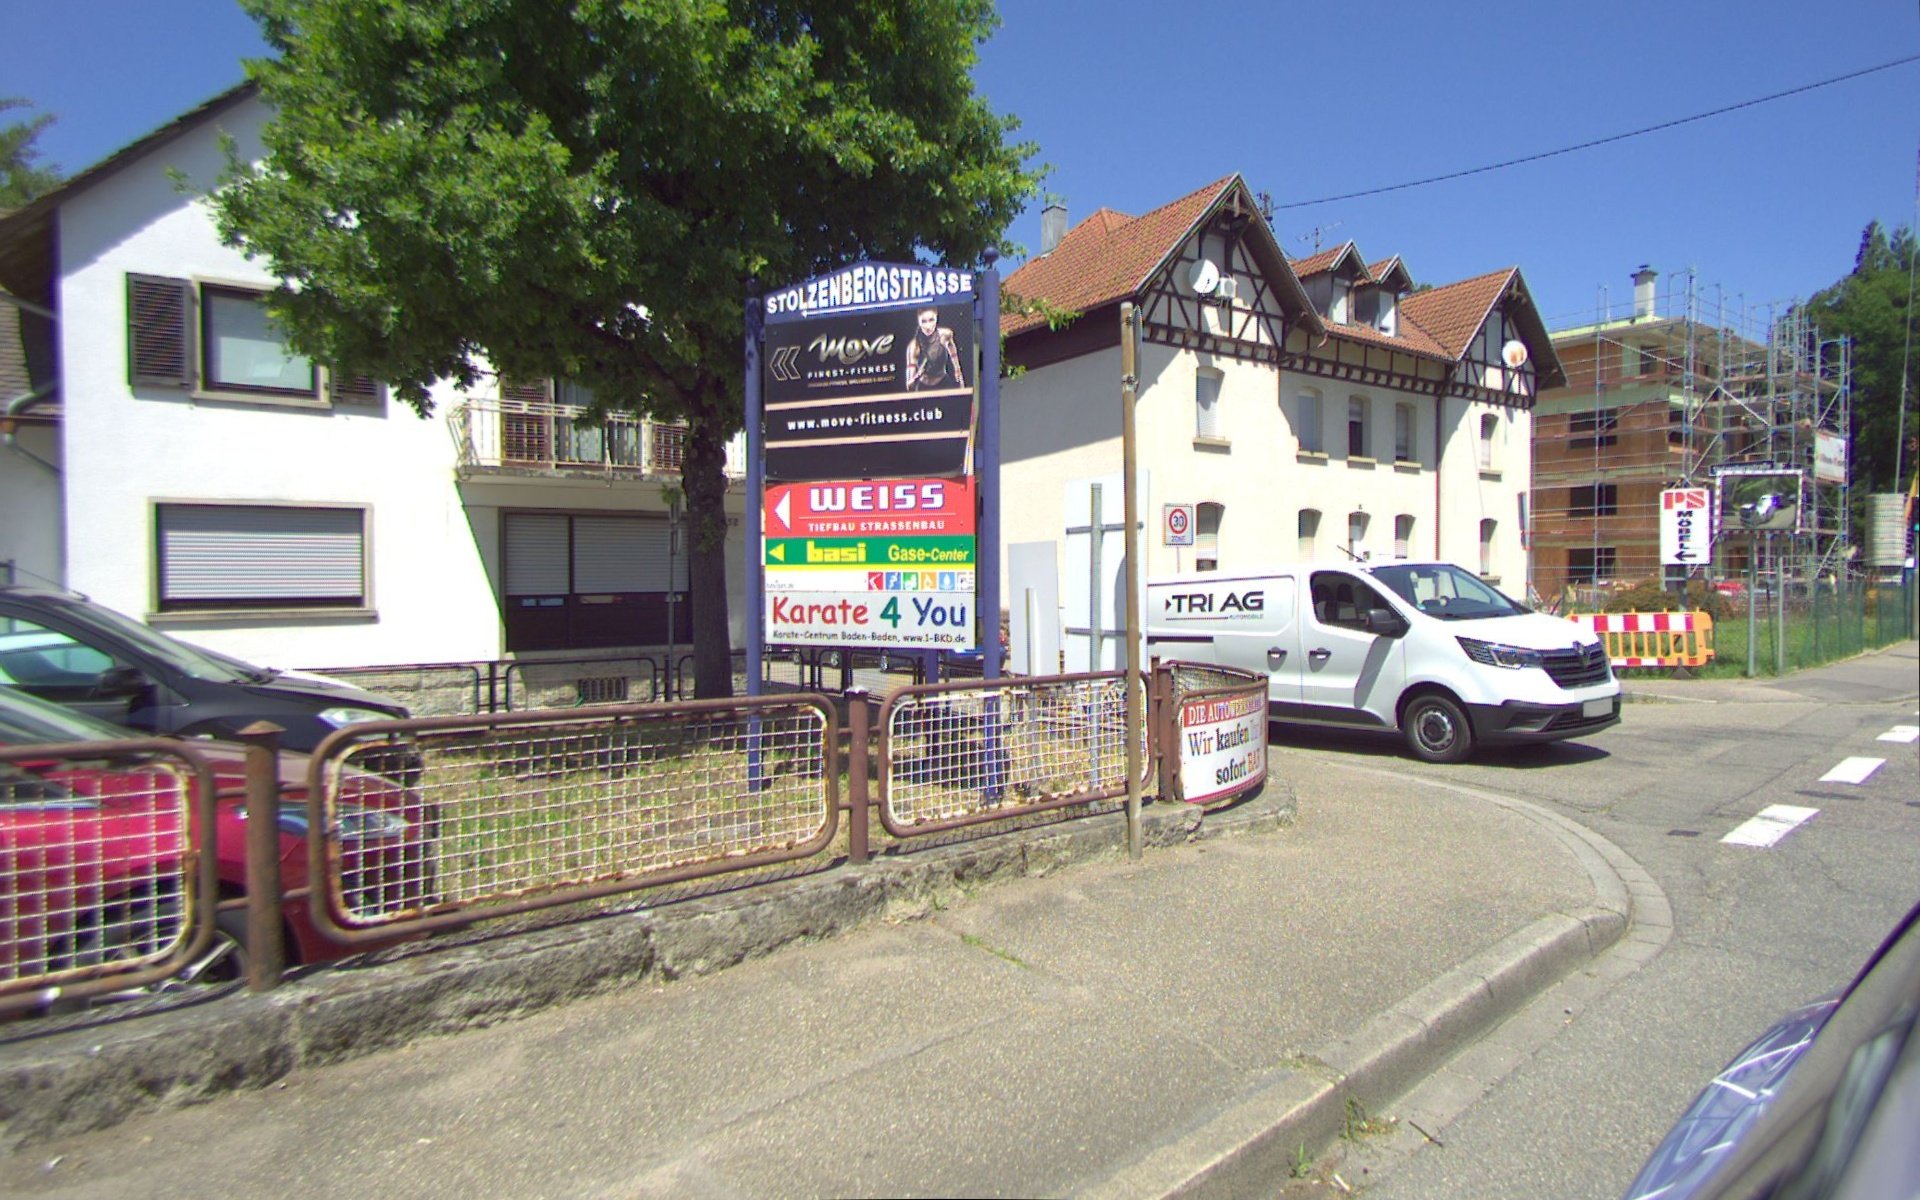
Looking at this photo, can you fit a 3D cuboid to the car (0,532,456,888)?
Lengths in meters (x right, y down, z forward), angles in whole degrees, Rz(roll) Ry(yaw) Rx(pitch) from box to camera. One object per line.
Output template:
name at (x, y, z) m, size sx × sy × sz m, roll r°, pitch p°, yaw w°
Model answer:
car at (-5.195, 0.531, 5.406) m, size 4.371 × 1.686 × 1.719 m, roll -1°, pitch 0°, yaw -30°

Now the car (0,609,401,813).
car at (-6.219, 0.751, 7.799) m, size 3.317 × 1.286 × 1.719 m, roll -1°, pitch 1°, yaw -30°

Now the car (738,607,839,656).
car at (-5.591, 0.988, 32.709) m, size 1.781 × 1.462 × 3.897 m, roll -1°, pitch -1°, yaw -34°

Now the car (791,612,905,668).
car at (-3.274, 1.092, 29.027) m, size 1.781 × 1.462 × 3.629 m, roll -1°, pitch -1°, yaw -34°

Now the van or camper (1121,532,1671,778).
van or camper at (4.323, 0.467, 11.160) m, size 1.961 × 2.003 × 5.365 m, roll -3°, pitch 0°, yaw -31°

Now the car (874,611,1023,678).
car at (-0.370, 1.031, 24.623) m, size 1.781 × 1.462 × 3.897 m, roll -1°, pitch -1°, yaw -34°

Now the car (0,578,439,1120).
car at (-3.849, 0.709, 3.168) m, size 3.766 × 1.542 × 1.718 m, roll -1°, pitch 2°, yaw -35°
